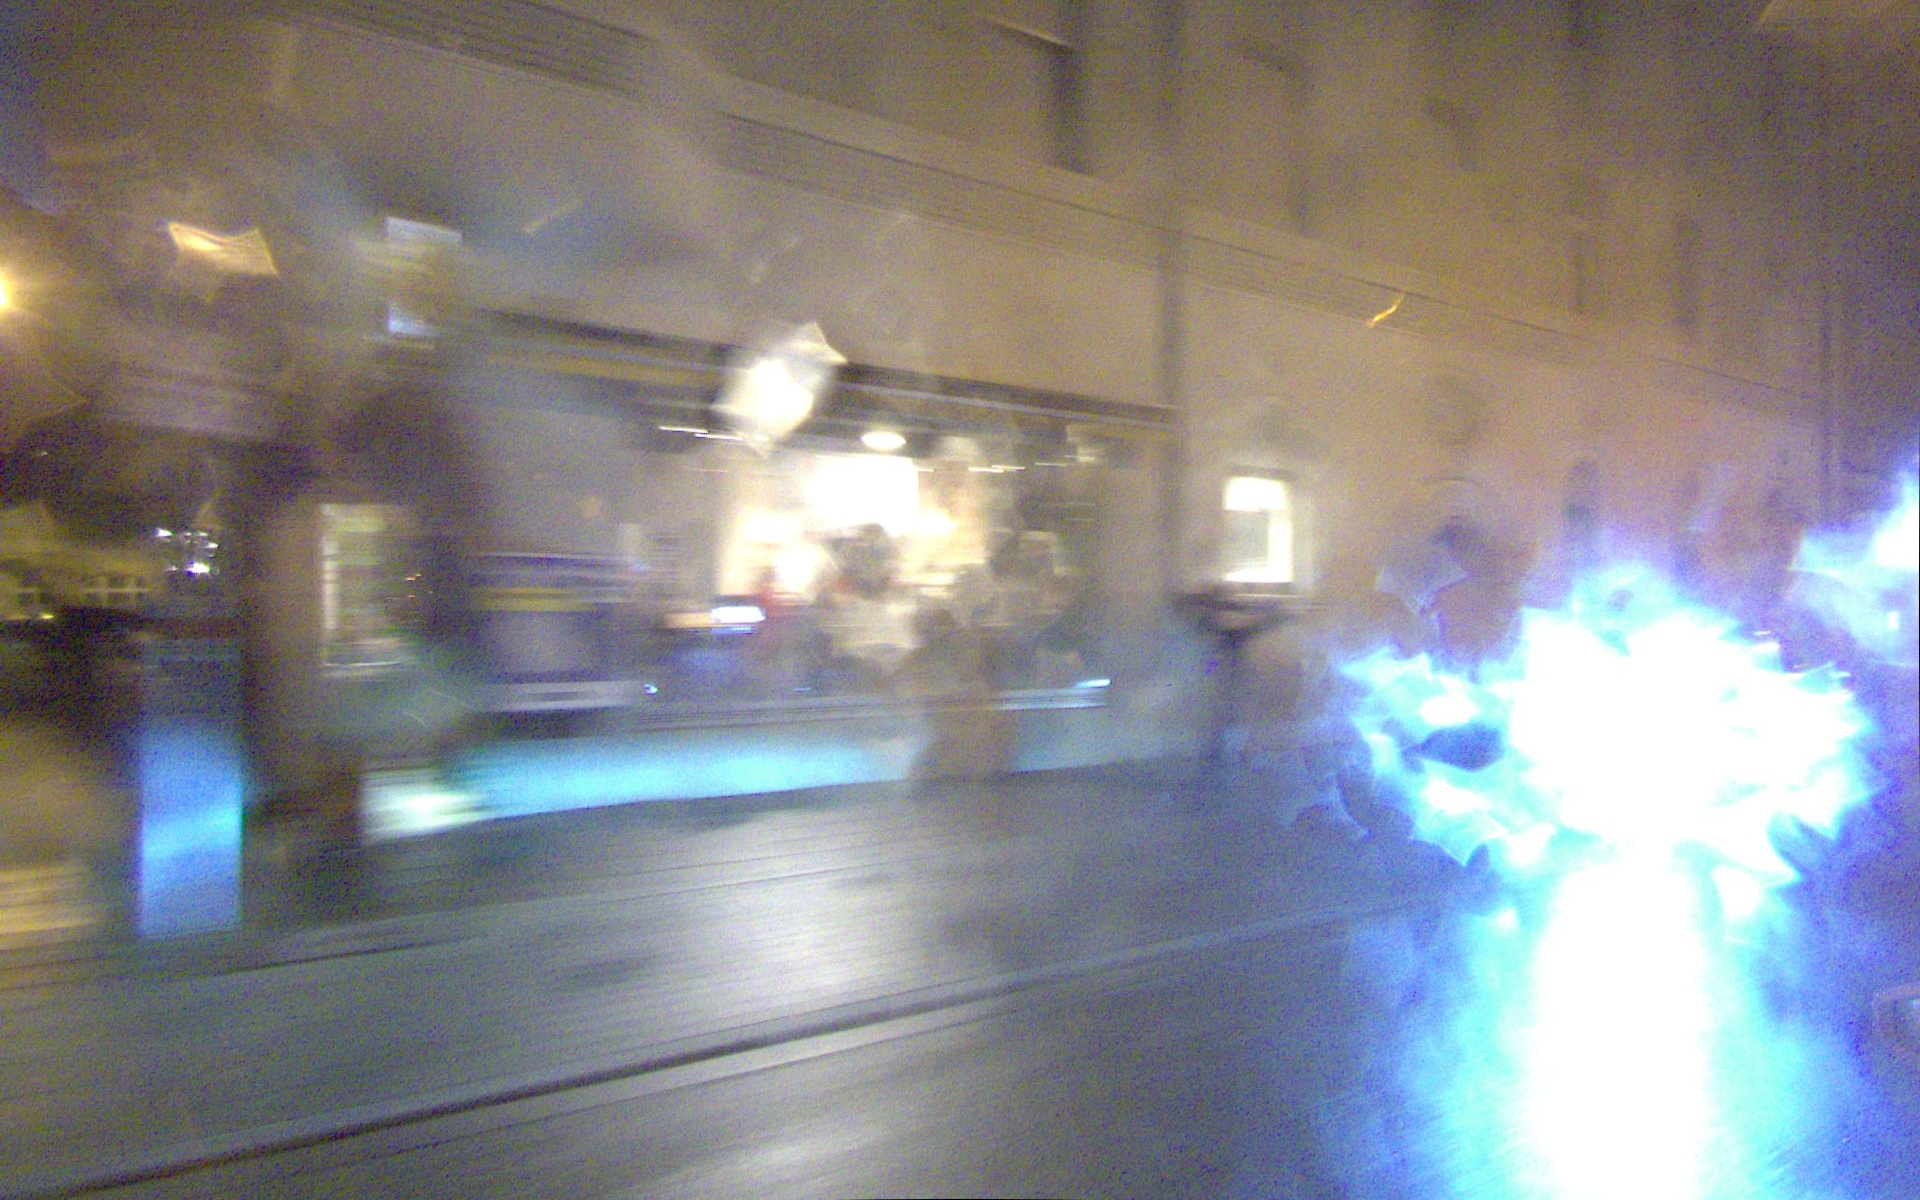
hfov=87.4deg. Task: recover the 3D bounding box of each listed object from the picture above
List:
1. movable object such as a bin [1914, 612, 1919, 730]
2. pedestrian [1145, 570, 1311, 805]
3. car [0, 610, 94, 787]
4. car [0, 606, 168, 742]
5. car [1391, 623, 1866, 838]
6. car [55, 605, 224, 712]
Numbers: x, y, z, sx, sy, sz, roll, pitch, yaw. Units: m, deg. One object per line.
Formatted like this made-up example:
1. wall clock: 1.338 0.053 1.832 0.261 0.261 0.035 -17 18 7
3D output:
1. movable object such as a bin: 12.791 0.916 12.372 1.093 1.479 1.203 1 1 -28
2. pedestrian: 2.213 0.680 8.397 0.778 1.806 1.127 1 0 -29
3. car: -9.992 0.897 9.640 1.770 1.559 3.968 1 0 -30
4. car: -13.139 0.964 14.656 1.864 1.703 3.968 1 0 -30
5. car: 5.633 0.897 8.339 4.173 1.377 1.646 1 -1 -30
6. car: -15.781 1.074 19.557 1.864 1.836 3.969 1 -2 -30
